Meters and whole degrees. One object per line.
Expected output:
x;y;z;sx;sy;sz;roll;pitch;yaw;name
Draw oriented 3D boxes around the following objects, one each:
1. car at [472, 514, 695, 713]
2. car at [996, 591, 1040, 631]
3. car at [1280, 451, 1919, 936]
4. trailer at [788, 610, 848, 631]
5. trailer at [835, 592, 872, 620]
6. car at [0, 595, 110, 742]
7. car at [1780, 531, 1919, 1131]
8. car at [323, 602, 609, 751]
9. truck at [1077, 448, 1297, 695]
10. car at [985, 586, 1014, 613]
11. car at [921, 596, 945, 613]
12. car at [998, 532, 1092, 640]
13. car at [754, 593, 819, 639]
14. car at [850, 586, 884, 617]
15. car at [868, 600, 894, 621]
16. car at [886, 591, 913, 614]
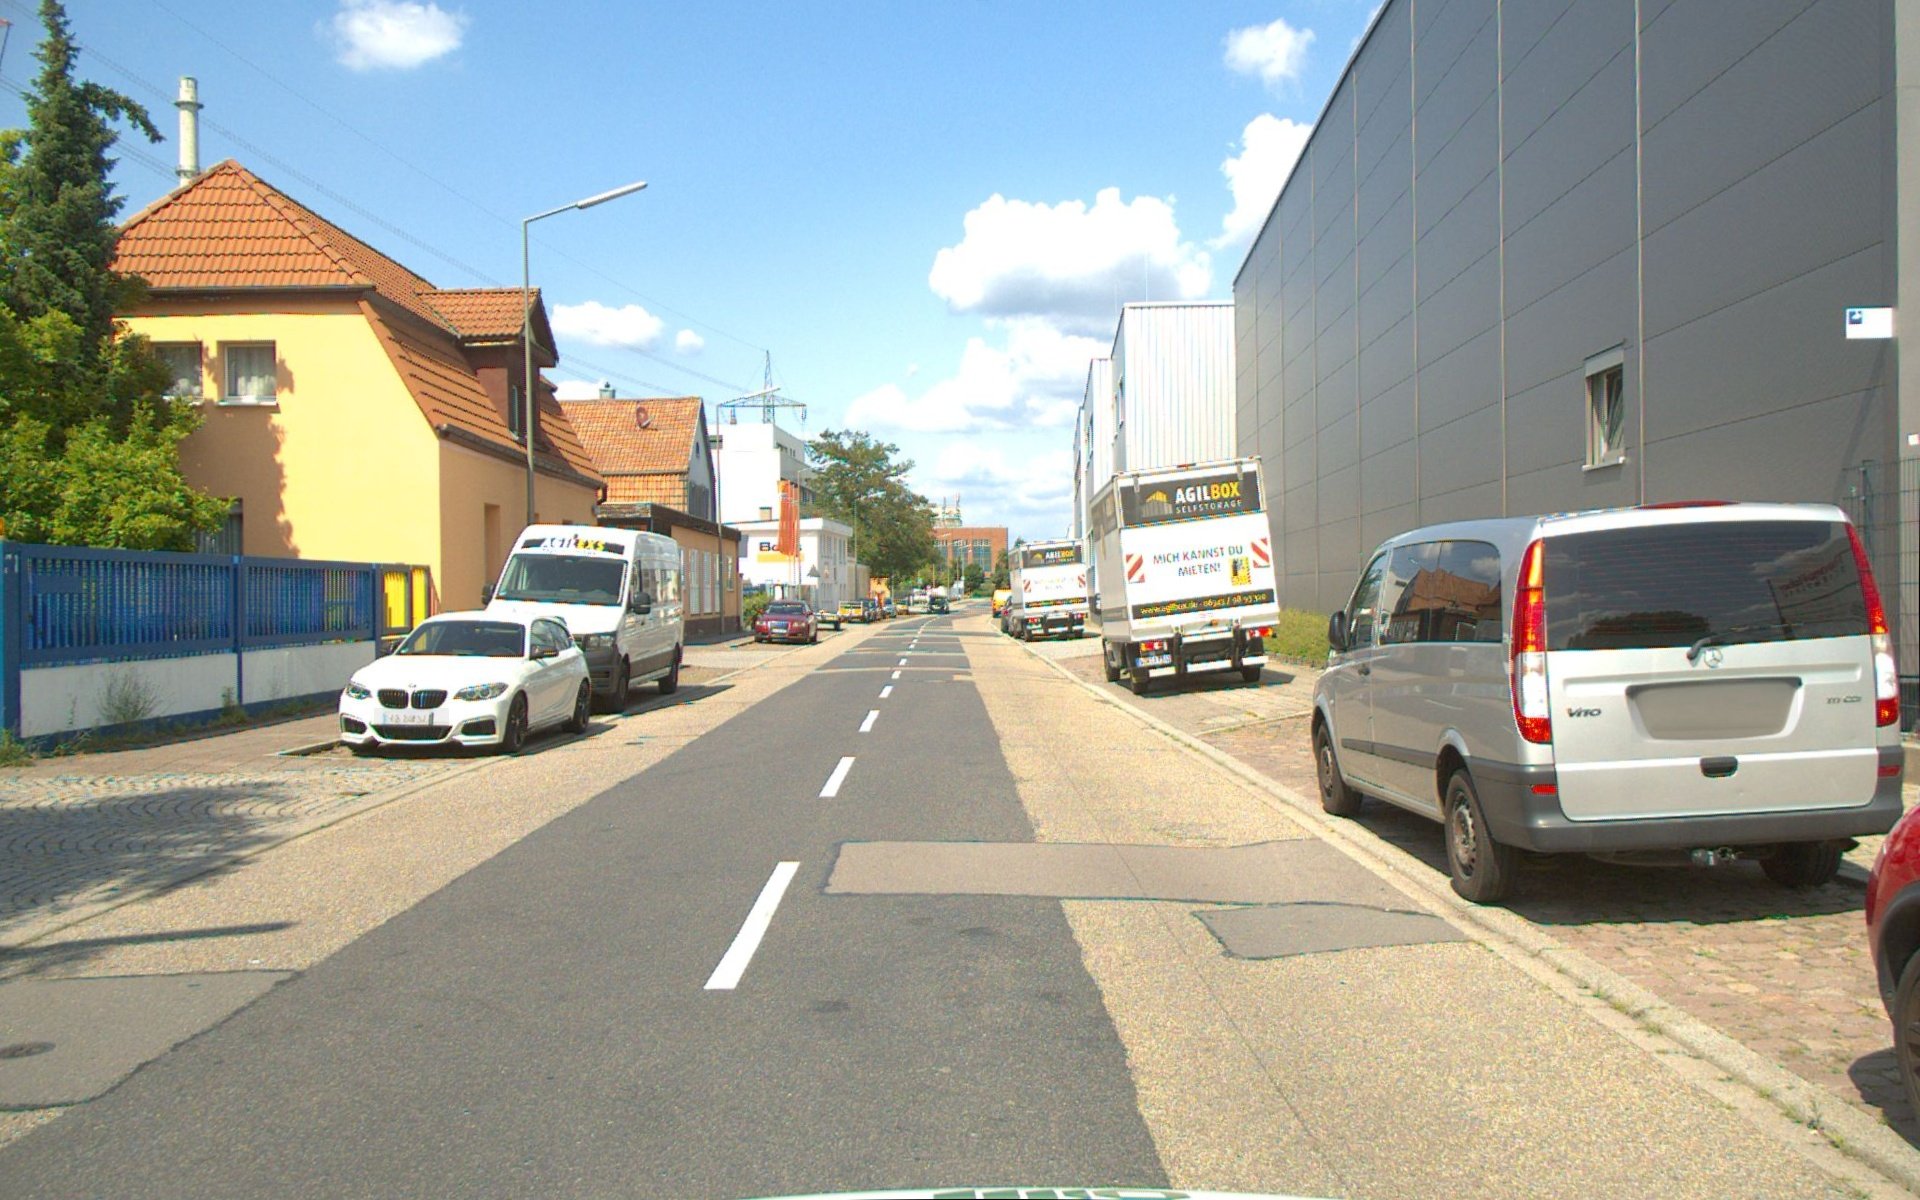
-5.521;0.192;25.283;1.986;2.606;6.837;1;0;-2;car
2.465;0.462;70.992;1.732;1.640;3.873;-1;0;1;car
3.414;0.379;9.651;2.012;1.936;5.147;-4;0;0;car
-6.454;0.924;75.811;2.314;0.908;5.568;1;0;-1;trailer
-6.200;0.350;96.887;1.953;1.584;4.253;0;0;-1;trailer
-10.799;0.756;17.025;1.827;1.488;4.143;-2;1;1;car
3.489;0.594;3.168;1.669;1.653;4.091;-2;0;-2;car
-5.266;0.750;18.287;1.759;1.422;4.502;1;0;1;car
3.534;-0.416;27.391;2.409;3.349;6.817;-5;0;0;truck
2.701;-0.040;113.125;1.899;1.772;4.377;-1;0;2;car
-2.215;0.366;136.030;1.879;1.307;3.614;-1;0;0;car
2.920;-0.459;58.572;2.341;3.421;6.640;-4;0;-4;car
-5.938;0.539;57.122;1.726;1.473;4.740;1;0;0;car
-6.322;0.084;112.496;1.952;2.049;4.001;1;0;2;car
-5.635;0.755;118.010;1.634;1.473;3.453;1;0;0;car
-4.945;0.193;135.979;1.882;1.825;4.001;1;0;2;car
